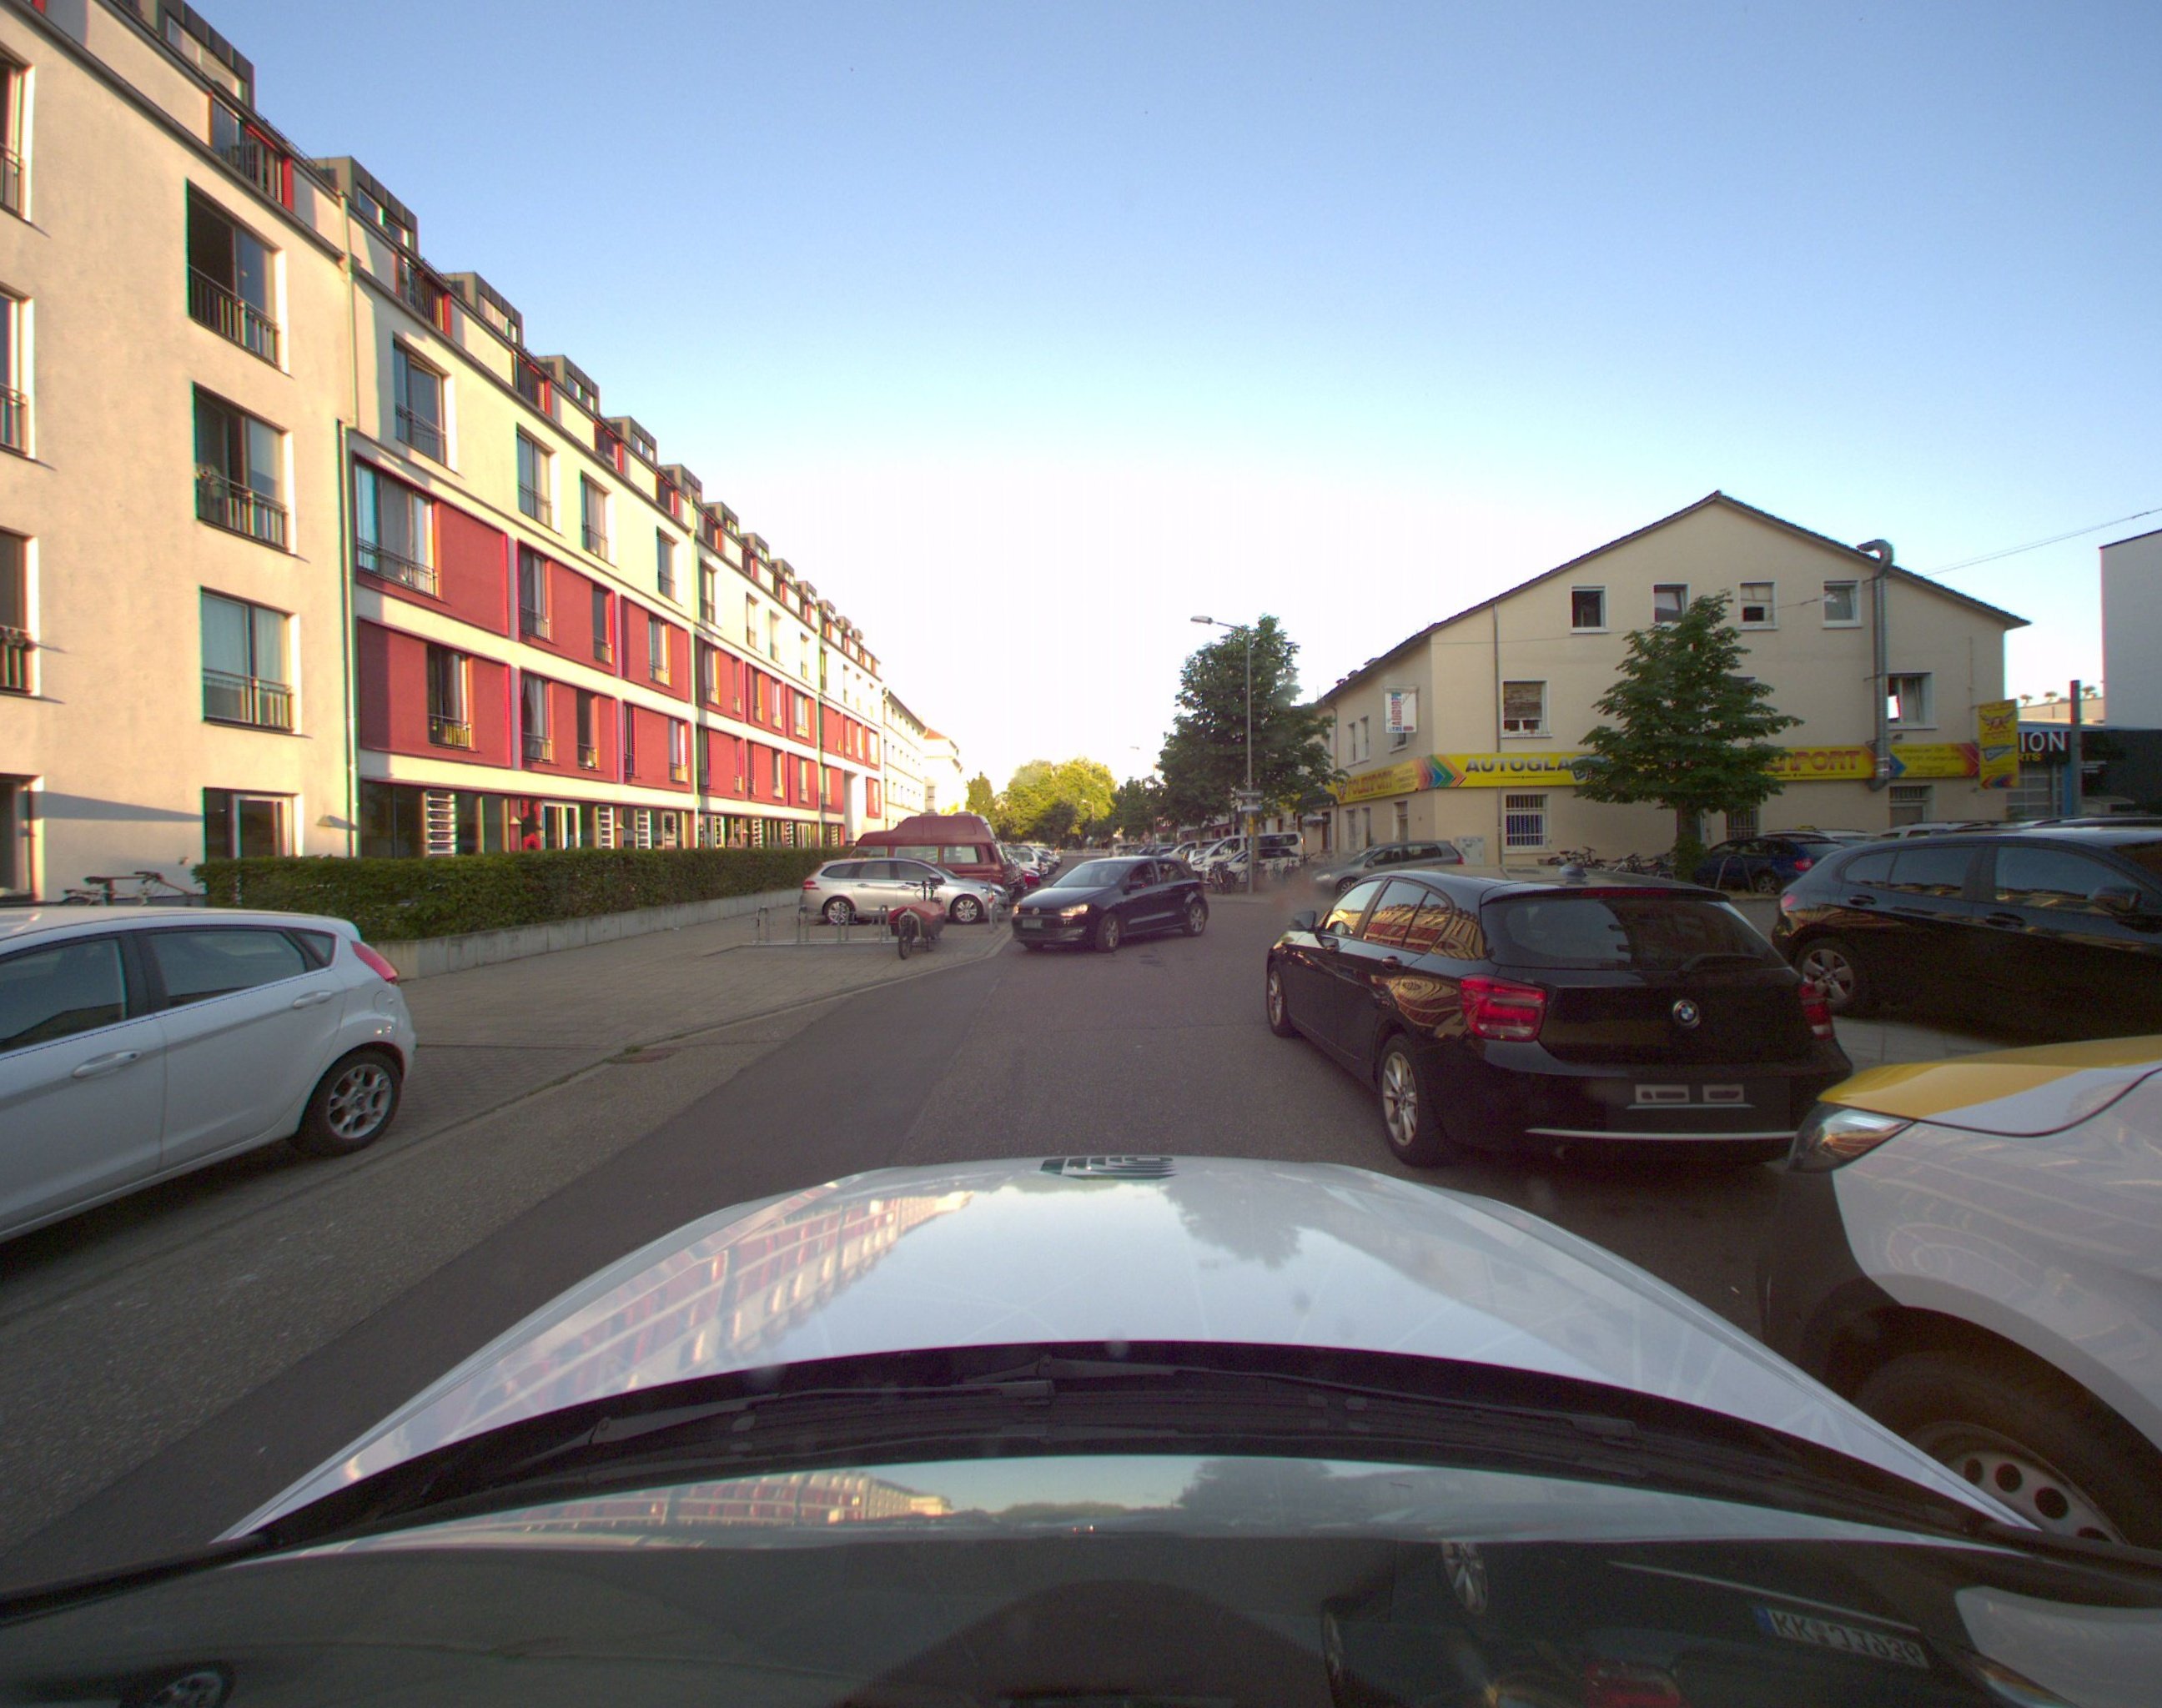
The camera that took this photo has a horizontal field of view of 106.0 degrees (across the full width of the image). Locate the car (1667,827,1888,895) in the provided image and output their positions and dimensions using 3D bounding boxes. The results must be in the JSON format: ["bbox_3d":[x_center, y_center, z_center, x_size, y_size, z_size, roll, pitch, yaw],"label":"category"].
[{"bbox_3d":[17.660,0.157,21.005,1.736,1.509,4.570,-1,0,-1],"label":"car"}]

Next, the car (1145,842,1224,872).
[{"bbox_3d":[6.891,0.215,54.419,4.929,1.689,2.076,-3,0,-1],"label":"car"}]

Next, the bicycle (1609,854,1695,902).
[{"bbox_3d":[13.485,0.555,19.229,1.848,1.075,0.427,0,2,-8],"label":"bicycle"}]

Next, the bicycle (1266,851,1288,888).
[{"bbox_3d":[6.546,0.506,27.237,0.384,1.200,1.482,-2,0,1],"label":"bicycle"}]

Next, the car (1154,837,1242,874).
[{"bbox_3d":[7.058,0.072,49.541,4.929,1.958,2.048,-3,0,-1],"label":"car"}]

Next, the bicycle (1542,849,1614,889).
[{"bbox_3d":[13.456,0.402,22.057,1.725,1.070,0.343,0,2,-1],"label":"bicycle"}]

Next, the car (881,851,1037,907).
[{"bbox_3d":[-3.419,0.694,23.440,4.197,1.538,1.790,0,0,-1],"label":"car"}]

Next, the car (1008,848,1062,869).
[{"bbox_3d":[-3.755,0.354,66.961,4.242,1.714,2.000,0,0,0],"label":"car"}]

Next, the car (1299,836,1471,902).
[{"bbox_3d":[8.215,0.381,22.253,4.035,1.514,1.757,-3,2,1],"label":"car"}]

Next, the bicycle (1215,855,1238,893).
[{"bbox_3d":[4.880,0.652,27.384,0.384,1.200,2.018,-2,0,1],"label":"bicycle"}]

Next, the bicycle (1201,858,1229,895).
[{"bbox_3d":[4.462,0.733,27.202,0.437,1.130,2.014,-2,0,-4],"label":"bicycle"}]

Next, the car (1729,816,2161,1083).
[{"bbox_3d":[6.709,0.491,5.112,1.720,1.424,4.423,-3,0,0],"label":"car"}]

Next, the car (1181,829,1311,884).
[{"bbox_3d":[6.874,0.108,34.307,4.972,1.983,2.220,-3,0,1],"label":"car"}]

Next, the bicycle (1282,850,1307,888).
[{"bbox_3d":[7.120,0.478,27.199,0.443,1.200,1.482,-2,0,1],"label":"bicycle"}]

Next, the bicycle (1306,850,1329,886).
[{"bbox_3d":[7.909,0.453,27.262,0.351,1.143,1.482,-2,0,1],"label":"bicycle"}]

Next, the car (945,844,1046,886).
[{"bbox_3d":[-3.767,0.476,36.475,4.242,1.836,2.000,0,0,0],"label":"car"}]

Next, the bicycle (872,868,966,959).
[{"bbox_3d":[-2.503,0.868,12.985,0.804,1.221,2.867,0,0,2],"label":"bicycle"}]

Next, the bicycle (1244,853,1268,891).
[{"bbox_3d":[5.871,0.575,27.392,0.384,1.200,2.018,-2,0,1],"label":"bicycle"}]

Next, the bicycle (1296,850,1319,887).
[{"bbox_3d":[7.548,0.464,27.184,0.351,1.200,1.482,-2,0,1],"label":"bicycle"}]

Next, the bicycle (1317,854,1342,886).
[{"bbox_3d":[8.317,0.523,27.303,0.386,1.017,1.482,-2,0,1],"label":"bicycle"}]

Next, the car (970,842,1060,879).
[{"bbox_3d":[-3.673,0.356,45.860,4.834,2.021,1.907,0,0,0],"label":"car"}]

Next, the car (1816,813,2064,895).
[{"bbox_3d":[22.188,0.041,21.339,1.866,1.902,4.331,-2,-1,0],"label":"car"}]

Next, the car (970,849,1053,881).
[{"bbox_3d":[-3.644,0.571,43.304,4.242,1.652,1.888,0,0,0],"label":"car"}]

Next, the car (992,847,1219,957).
[{"bbox_3d":[0.550,0.670,13.479,1.636,1.455,3.967,-1,1,39],"label":"car"}]

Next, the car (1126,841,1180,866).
[{"bbox_3d":[6.345,-0.065,71.997,4.470,1.911,1.685,-3,0,-4],"label":"car"}]

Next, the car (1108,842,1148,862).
[{"bbox_3d":[5.021,-0.244,87.522,3.960,1.911,2.046,-3,0,-4],"label":"car"}]

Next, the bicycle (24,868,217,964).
[{"bbox_3d":[-12.035,0.754,10.227,1.768,1.148,0.611,0,0,3],"label":"bicycle"}]

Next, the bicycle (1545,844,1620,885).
[{"bbox_3d":[14.094,0.295,22.921,1.853,1.149,0.344,0,2,2],"label":"bicycle"}]

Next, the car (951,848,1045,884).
[{"bbox_3d":[-3.905,0.571,38.950,4.242,1.660,2.000,0,0,0],"label":"car"}]

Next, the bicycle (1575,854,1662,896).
[{"bbox_3d":[13.391,0.516,20.315,1.842,1.010,0.428,0,2,2],"label":"bicycle"}]

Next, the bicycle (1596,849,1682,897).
[{"bbox_3d":[13.476,0.452,19.675,1.917,1.128,0.427,0,1,-8],"label":"bicycle"}]

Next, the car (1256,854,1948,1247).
[{"bbox_3d":[2.388,0.728,5.143,1.715,1.424,4.254,0,0,1],"label":"car"}]

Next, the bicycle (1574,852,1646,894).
[{"bbox_3d":[13.524,0.488,20.842,1.596,1.041,0.344,0,2,2],"label":"bicycle"}]

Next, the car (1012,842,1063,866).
[{"bbox_3d":[-3.972,0.026,74.373,4.518,2.134,2.000,0,0,0],"label":"car"}]

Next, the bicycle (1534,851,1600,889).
[{"bbox_3d":[13.364,0.425,22.407,1.597,1.019,0.343,0,2,-1],"label":"bicycle"}]

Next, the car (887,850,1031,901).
[{"bbox_3d":[-3.833,0.654,26.011,4.187,1.538,1.845,0,0,6],"label":"car"}]

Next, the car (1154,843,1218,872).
[{"bbox_3d":[7.606,0.249,59.319,4.304,1.804,1.810,-3,0,-1],"label":"car"}]

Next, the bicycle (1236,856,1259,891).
[{"bbox_3d":[5.588,0.629,27.409,0.384,1.114,2.018,-2,0,1],"label":"bicycle"}]

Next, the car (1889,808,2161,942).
[{"bbox_3d":[14.405,0.255,11.414,4.306,1.672,1.877,-2,-1,-1],"label":"car"}]

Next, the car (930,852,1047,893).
[{"bbox_3d":[-3.454,0.682,31.051,4.194,1.490,1.850,0,0,1],"label":"car"}]

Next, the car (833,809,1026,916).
[{"bbox_3d":[-3.776,0.201,20.873,4.493,2.584,2.001,0,0,2],"label":"car"}]

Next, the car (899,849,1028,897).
[{"bbox_3d":[-3.990,0.638,28.273,4.197,1.575,1.999,0,0,-1],"label":"car"}]

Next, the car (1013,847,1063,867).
[{"bbox_3d":[-3.723,0.238,71.734,4.242,1.749,2.000,0,0,0],"label":"car"}]

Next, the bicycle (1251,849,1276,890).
[{"bbox_3d":[6.130,0.504,27.399,0.384,1.304,2.018,-2,0,1],"label":"bicycle"}]

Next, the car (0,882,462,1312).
[{"bbox_3d":[-4.927,0.974,3.416,1.646,1.530,4.014,-1,0,-2],"label":"car"}]

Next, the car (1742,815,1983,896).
[{"bbox_3d":[19.886,-0.027,21.073,1.866,1.831,4.577,-1,1,0],"label":"car"}]

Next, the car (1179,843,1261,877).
[{"bbox_3d":[7.169,0.286,42.284,3.897,1.526,1.940,-3,0,1],"label":"car"}]

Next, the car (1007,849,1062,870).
[{"bbox_3d":[-3.635,0.456,64.218,4.243,1.622,2.000,0,0,0],"label":"car"}]

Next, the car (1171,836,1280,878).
[{"bbox_3d":[6.960,0.141,39.652,4.926,1.742,2.050,-3,0,1],"label":"car"}]

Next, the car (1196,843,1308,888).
[{"bbox_3d":[6.560,0.425,31.524,3.908,1.451,1.767,-3,0,-2],"label":"car"}]

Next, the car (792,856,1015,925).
[{"bbox_3d":[-3.849,0.781,18.297,4.604,1.460,1.879,0,0,-3],"label":"car"}]
